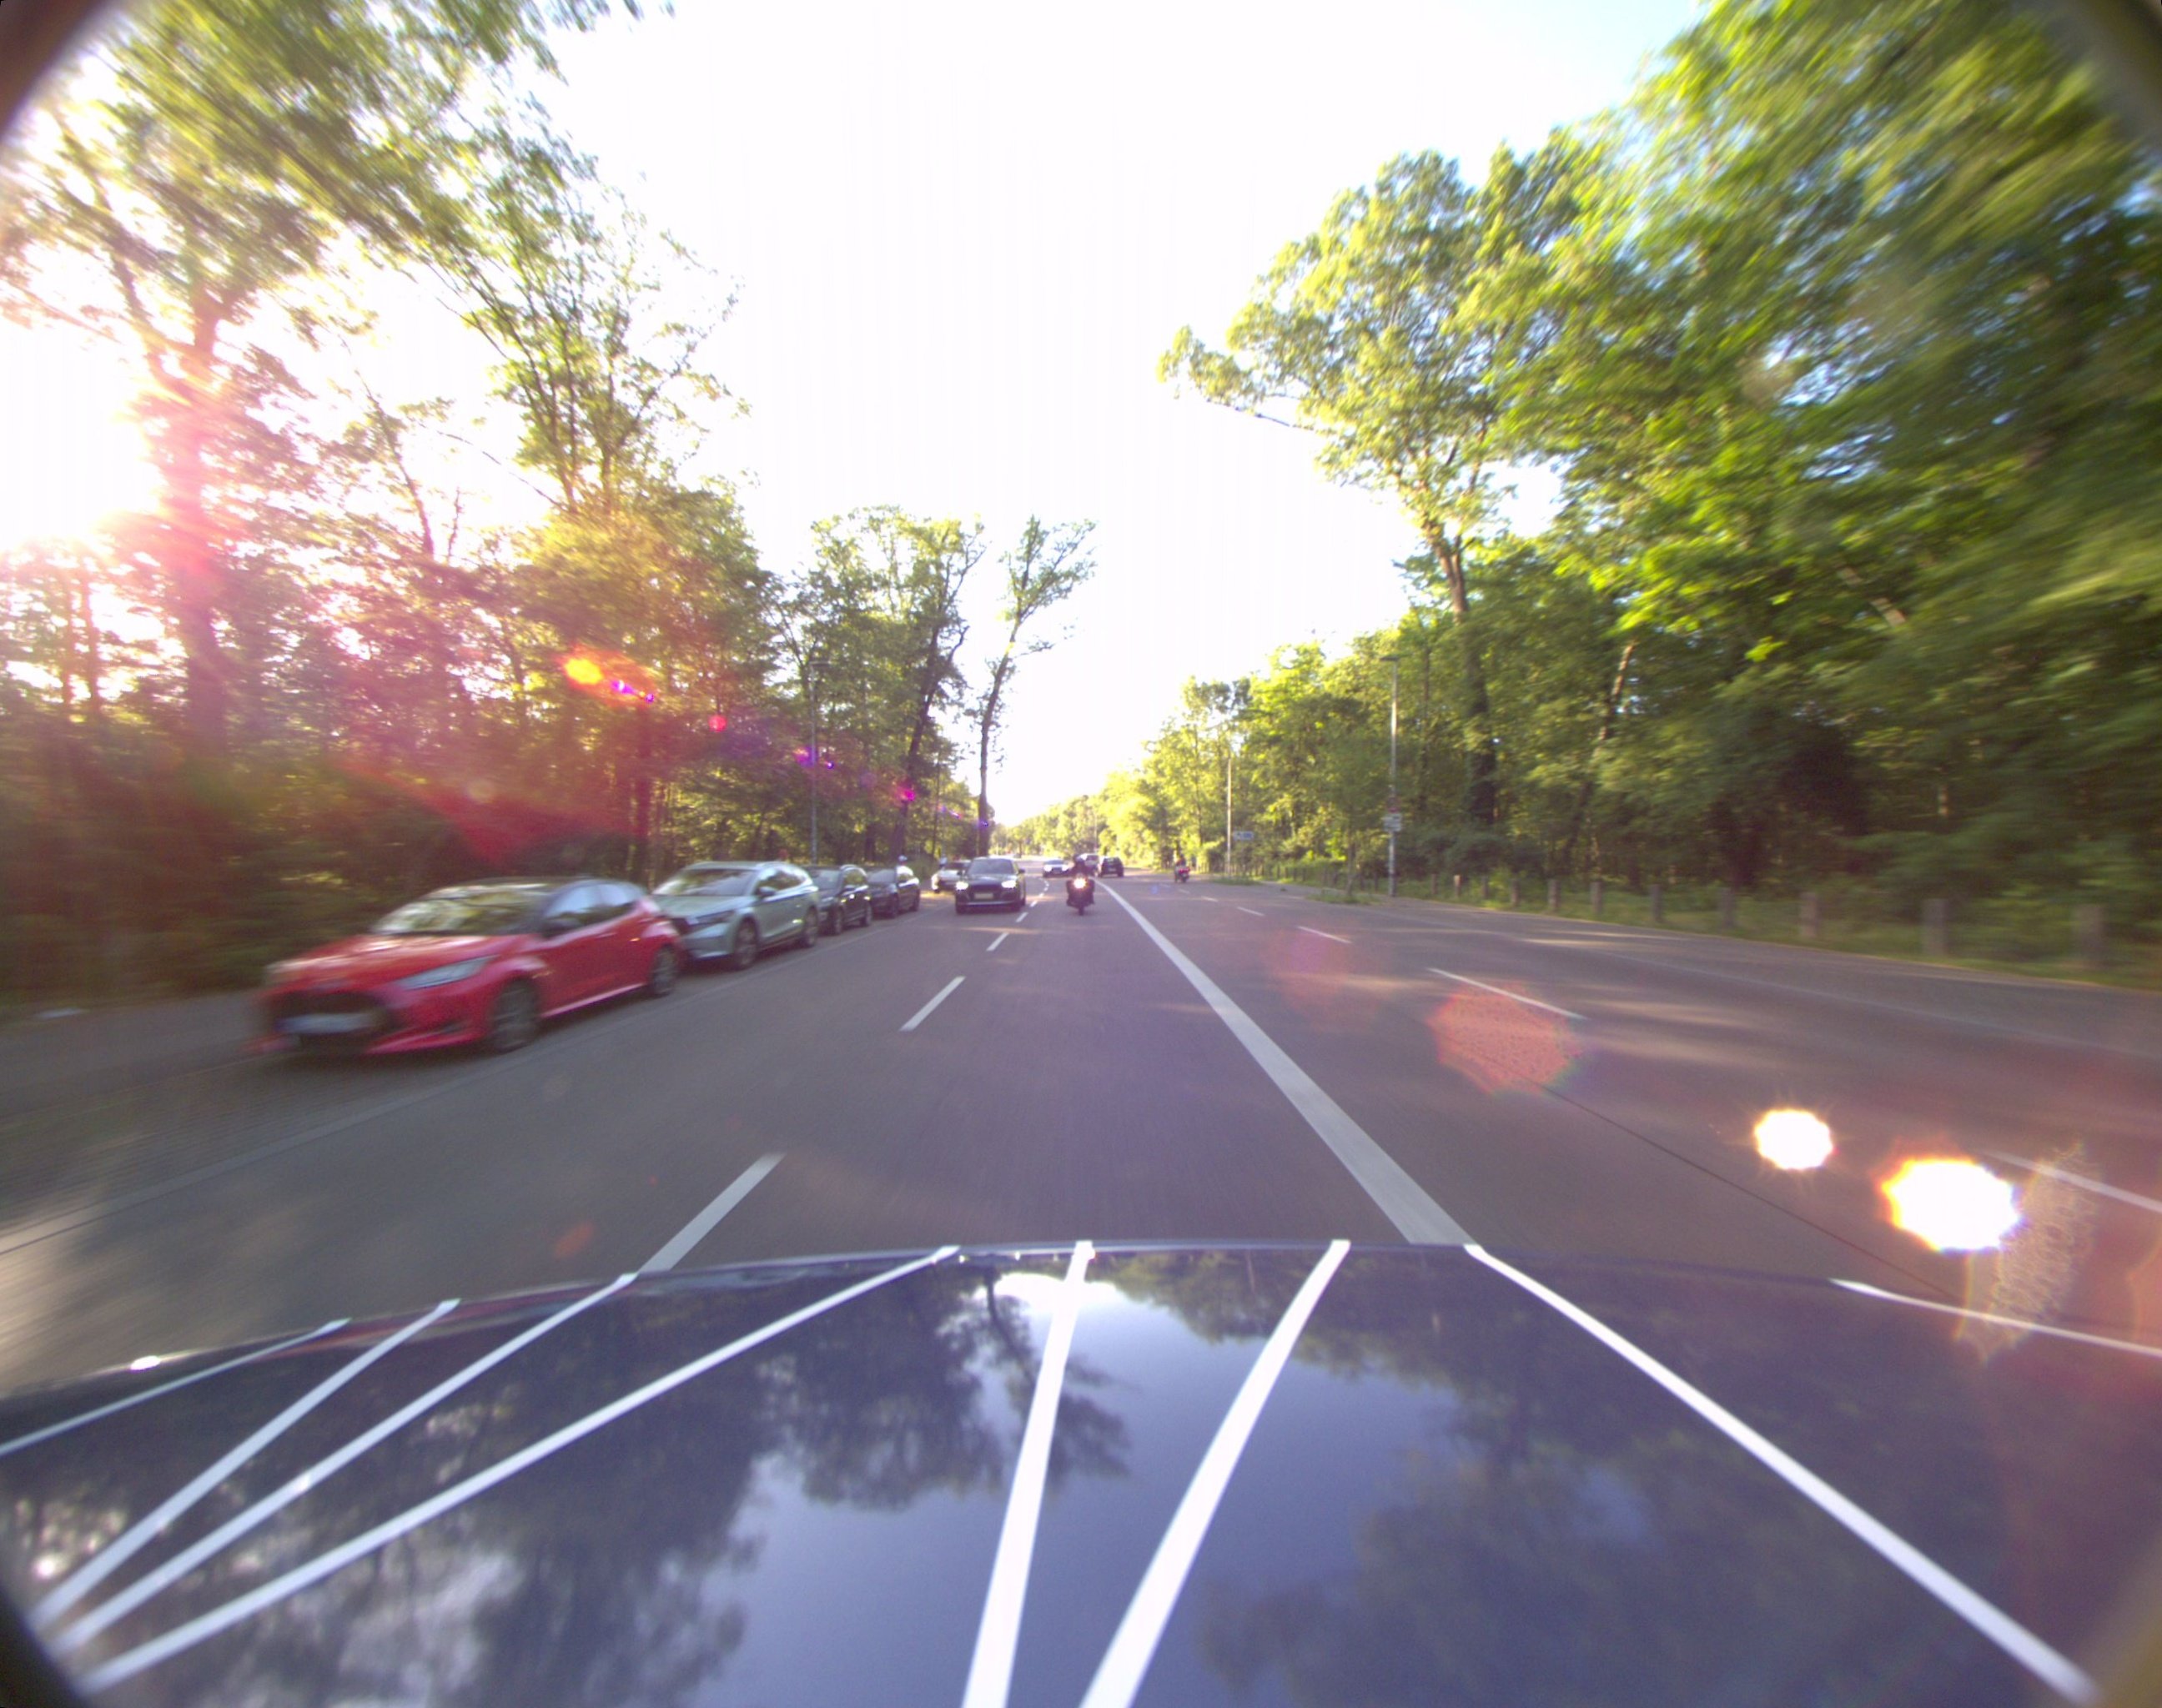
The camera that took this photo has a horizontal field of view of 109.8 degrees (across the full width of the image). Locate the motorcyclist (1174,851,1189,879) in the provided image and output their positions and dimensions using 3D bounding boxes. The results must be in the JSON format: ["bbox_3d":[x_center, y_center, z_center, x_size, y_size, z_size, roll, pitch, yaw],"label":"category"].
[{"bbox_3d":[5.604,0.613,42.355,0.658,1.531,0.904,-1,1,0],"label":"motorcyclist"}]

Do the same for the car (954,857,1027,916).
[{"bbox_3d":[-2.724,0.940,23.704,1.861,1.608,3.999,-1,1,-2],"label":"car"}]

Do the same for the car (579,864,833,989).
[{"bbox_3d":[-5.848,1.007,12.653,1.857,1.575,4.722,2,0,0],"label":"car"}]

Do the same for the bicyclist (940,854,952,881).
[{"bbox_3d":[-8.704,0.838,48.845,0.597,1.706,0.834,-1,1,0],"label":"bicyclist"}]

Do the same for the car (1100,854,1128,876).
[{"bbox_3d":[2.417,0.788,56.448,1.810,1.536,4.089,-1,0,0],"label":"car"}]

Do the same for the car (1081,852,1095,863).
[{"bbox_3d":[1.064,0.527,121.586,1.999,1.649,4.447,-1,0,-2],"label":"car"}]

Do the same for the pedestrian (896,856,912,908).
[{"bbox_3d":[-6.018,0.945,25.833,0.513,1.746,0.735,0,0,-13],"label":"pedestrian"}]

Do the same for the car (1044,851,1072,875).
[{"bbox_3d":[-1.809,0.730,60.307,1.998,1.761,4.232,-2,0,1],"label":"car"}]

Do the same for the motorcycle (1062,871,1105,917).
[{"bbox_3d":[0.034,1.094,21.569,0.956,1.098,3.338,-3,0,-4],"label":"motorcycle"}]

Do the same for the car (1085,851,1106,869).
[{"bbox_3d":[1.468,0.589,78.552,1.911,1.746,4.799,0,0,-2],"label":"car"}]

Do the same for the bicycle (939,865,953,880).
[{"bbox_3d":[-8.693,1.174,48.893,0.593,0.878,1.931,-1,0,-1],"label":"bicycle"}]

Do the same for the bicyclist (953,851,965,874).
[{"bbox_3d":[-8.504,0.594,52.892,0.703,1.552,0.876,1,1,-1],"label":"bicyclist"}]

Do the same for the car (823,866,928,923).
[{"bbox_3d":[-5.982,1.115,22.664,1.857,1.426,4.534,0,0,1],"label":"car"}]

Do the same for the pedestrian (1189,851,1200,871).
[{"bbox_3d":[10.109,0.632,67.603,0.773,1.758,0.737,1,1,-6],"label":"pedestrian"}]

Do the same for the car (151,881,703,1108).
[{"bbox_3d":[-5.862,1.106,7.764,1.858,1.448,4.462,2,0,-2],"label":"car"}]

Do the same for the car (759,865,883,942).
[{"bbox_3d":[-5.947,1.075,17.851,1.599,1.513,3.909,1,0,-1],"label":"car"}]

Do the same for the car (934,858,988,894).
[{"bbox_3d":[-5.700,1.022,36.585,1.811,1.551,4.456,2,0,1],"label":"car"}]

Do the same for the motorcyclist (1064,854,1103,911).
[{"bbox_3d":[0.062,0.790,21.320,0.953,1.523,1.073,-2,0,-4],"label":"motorcyclist"}]

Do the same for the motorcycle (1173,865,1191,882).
[{"bbox_3d":[5.612,1.086,42.299,0.670,0.899,2.166,-1,0,0],"label":"motorcycle"}]
